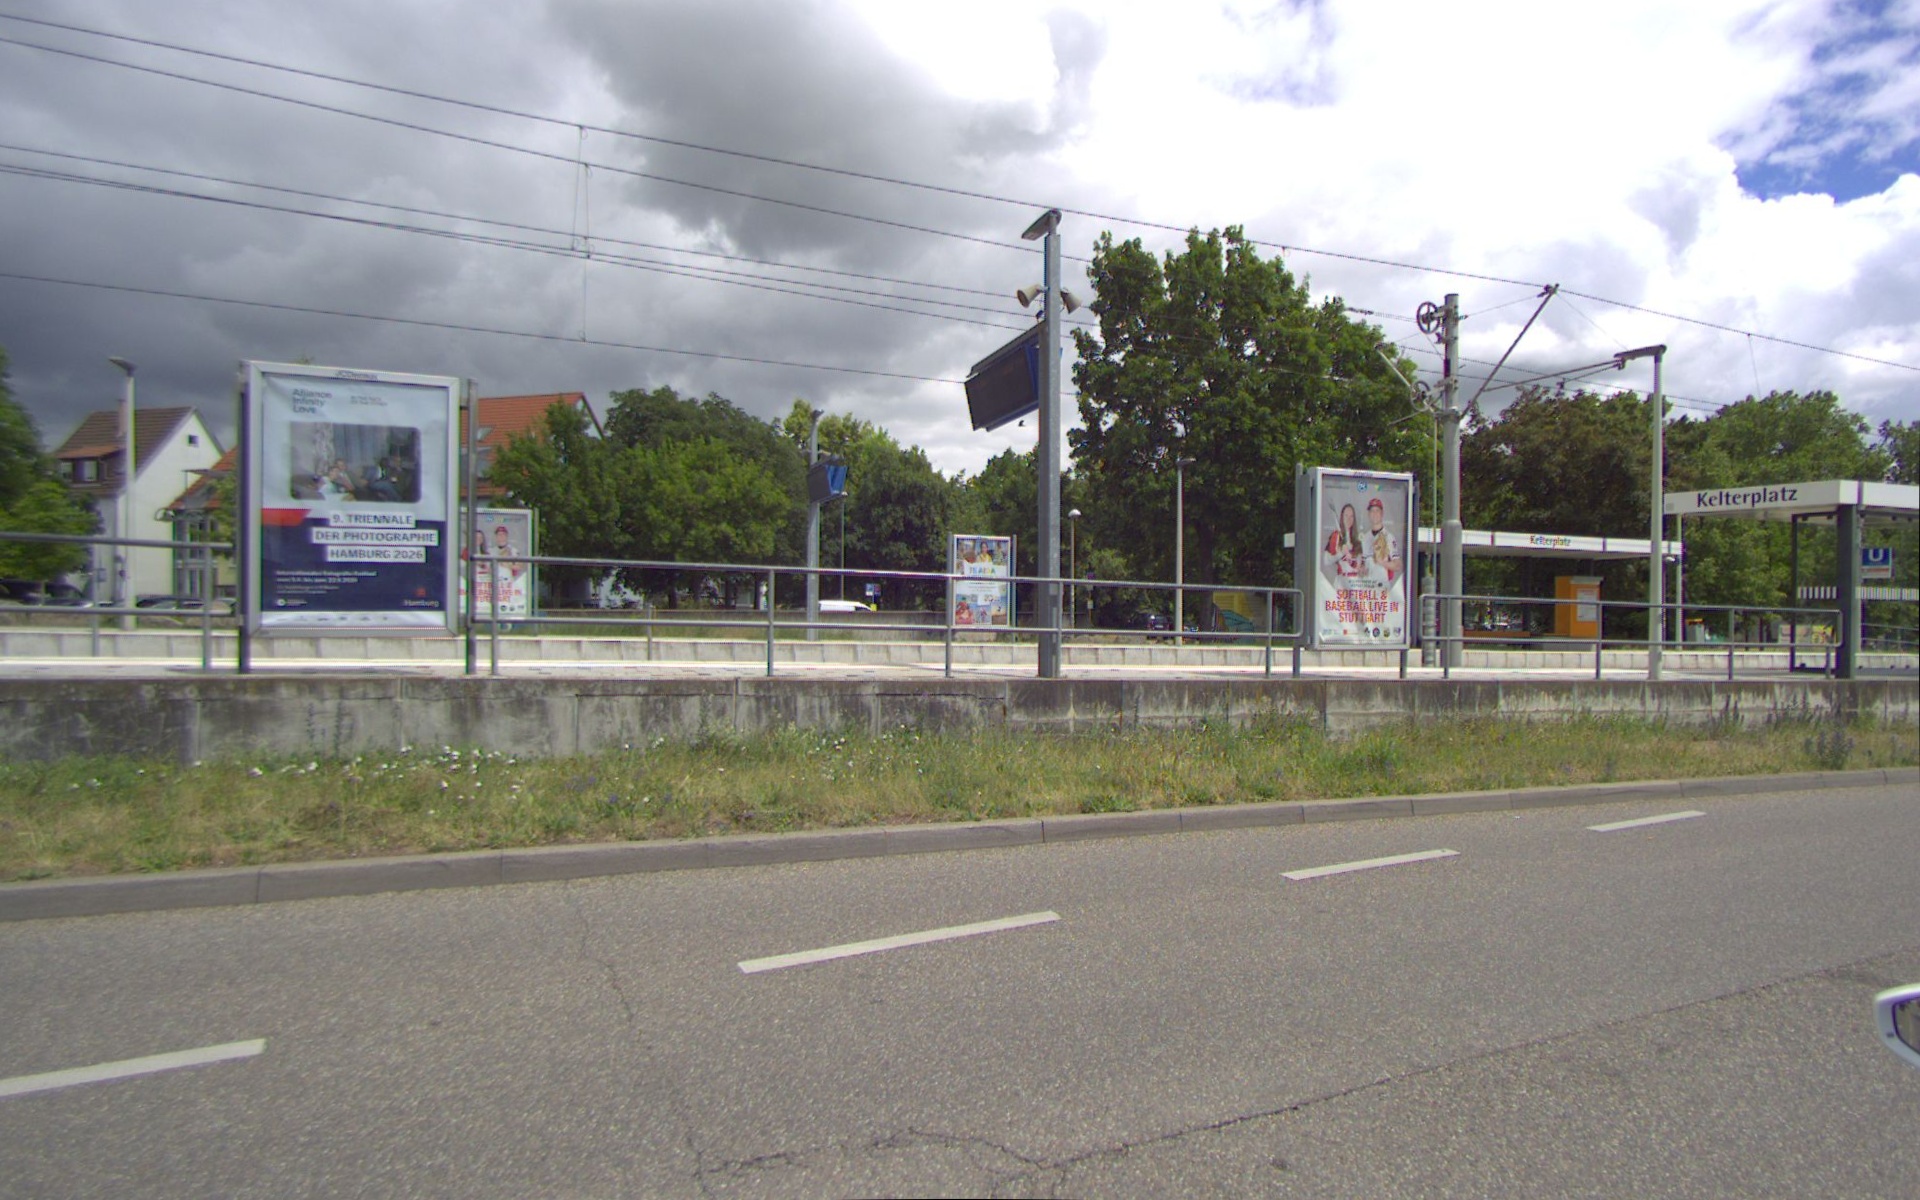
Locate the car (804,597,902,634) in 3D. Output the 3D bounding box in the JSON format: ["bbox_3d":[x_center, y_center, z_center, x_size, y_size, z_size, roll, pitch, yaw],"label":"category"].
[{"bbox_3d":[-5.122,0.725,47.915,4.339,1.701,1.940,0,0,-20],"label":"car"}]

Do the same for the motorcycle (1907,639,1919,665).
[{"bbox_3d":[42.086,2.256,43.337,2.178,1.095,0.729,1,0,-15],"label":"motorcycle"}]

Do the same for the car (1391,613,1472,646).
[{"bbox_3d":[25.809,1.584,55.057,2.023,1.728,3.629,0,0,-22],"label":"car"}]

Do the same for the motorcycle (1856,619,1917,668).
[{"bbox_3d":[38.992,1.823,42.300,1.946,2.040,0.835,1,0,-8],"label":"motorcycle"}]
